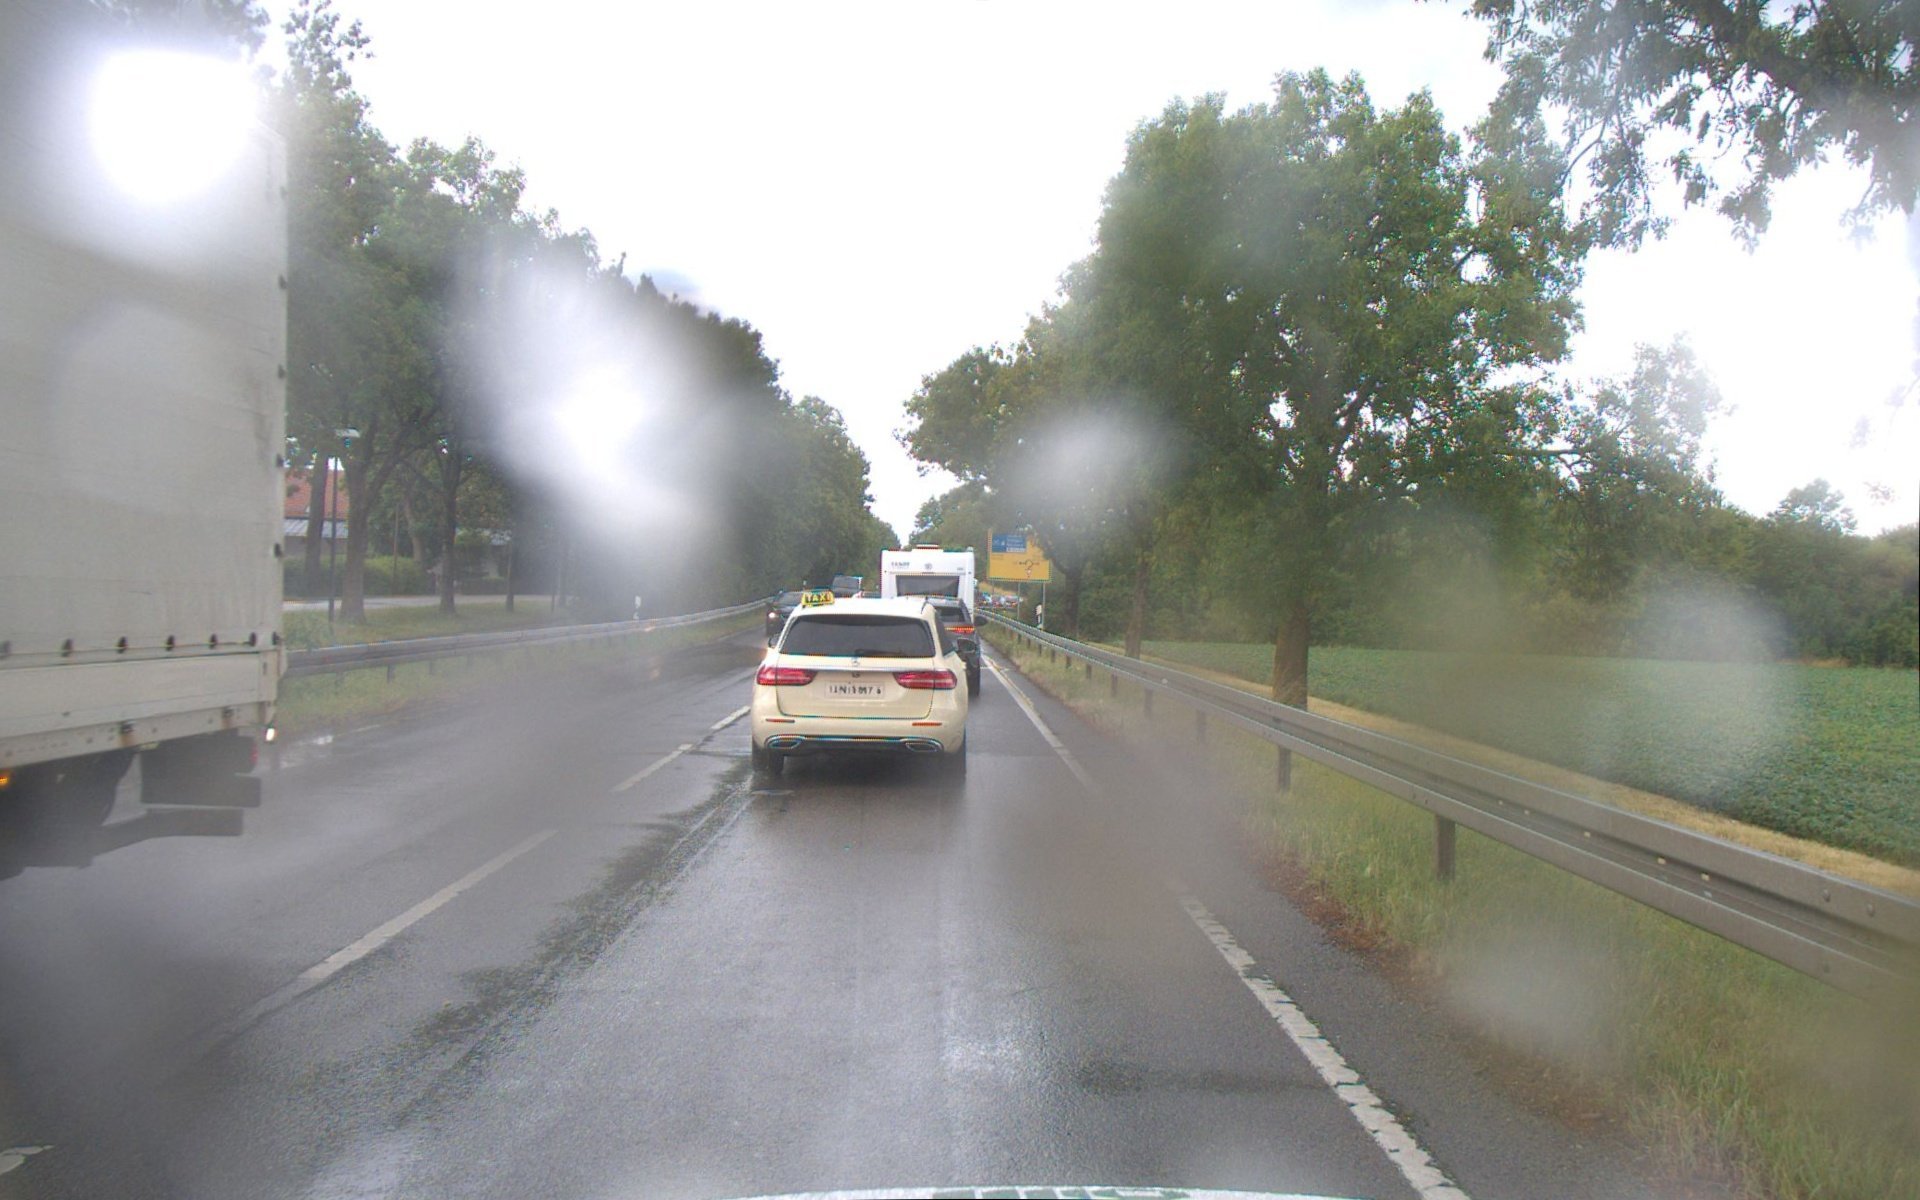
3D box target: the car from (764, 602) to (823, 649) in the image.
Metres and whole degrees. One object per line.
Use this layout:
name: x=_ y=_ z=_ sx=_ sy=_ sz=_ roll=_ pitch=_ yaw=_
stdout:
car: x=-5.685 y=0.843 z=56.708 sx=1.679 sy=1.476 sz=4.110 roll=1 pitch=0 yaw=-1

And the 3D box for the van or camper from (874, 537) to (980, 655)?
van or camper: x=-0.764 y=-0.103 z=41.820 sx=2.438 sy=2.732 sz=5.700 roll=1 pitch=0 yaw=0

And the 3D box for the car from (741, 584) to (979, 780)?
car: x=-0.770 y=0.629 z=14.802 sx=1.826 sy=1.502 sz=4.000 roll=1 pitch=0 yaw=0

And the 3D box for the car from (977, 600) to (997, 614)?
car: x=2.117 y=0.560 z=131.907 sx=1.520 sy=1.138 sz=4.000 roll=1 pitch=0 yaw=0

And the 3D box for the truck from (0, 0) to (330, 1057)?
truck: x=-4.021 y=-0.401 z=2.824 sx=2.524 sy=3.512 sz=9.552 roll=0 pitch=0 yaw=-2

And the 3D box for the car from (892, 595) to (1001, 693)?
car: x=-0.198 y=0.663 z=26.990 sx=1.630 sy=1.456 sz=4.000 roll=1 pitch=0 yaw=0

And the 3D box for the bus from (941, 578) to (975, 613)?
bus: x=-0.125 y=-0.262 z=98.531 sx=1.953 sy=2.049 sz=3.999 roll=0 pitch=0 yaw=-1

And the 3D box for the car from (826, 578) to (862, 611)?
car: x=-6.598 y=-0.313 z=94.351 sx=1.791 sy=1.834 sz=4.413 roll=1 pitch=0 yaw=-1
